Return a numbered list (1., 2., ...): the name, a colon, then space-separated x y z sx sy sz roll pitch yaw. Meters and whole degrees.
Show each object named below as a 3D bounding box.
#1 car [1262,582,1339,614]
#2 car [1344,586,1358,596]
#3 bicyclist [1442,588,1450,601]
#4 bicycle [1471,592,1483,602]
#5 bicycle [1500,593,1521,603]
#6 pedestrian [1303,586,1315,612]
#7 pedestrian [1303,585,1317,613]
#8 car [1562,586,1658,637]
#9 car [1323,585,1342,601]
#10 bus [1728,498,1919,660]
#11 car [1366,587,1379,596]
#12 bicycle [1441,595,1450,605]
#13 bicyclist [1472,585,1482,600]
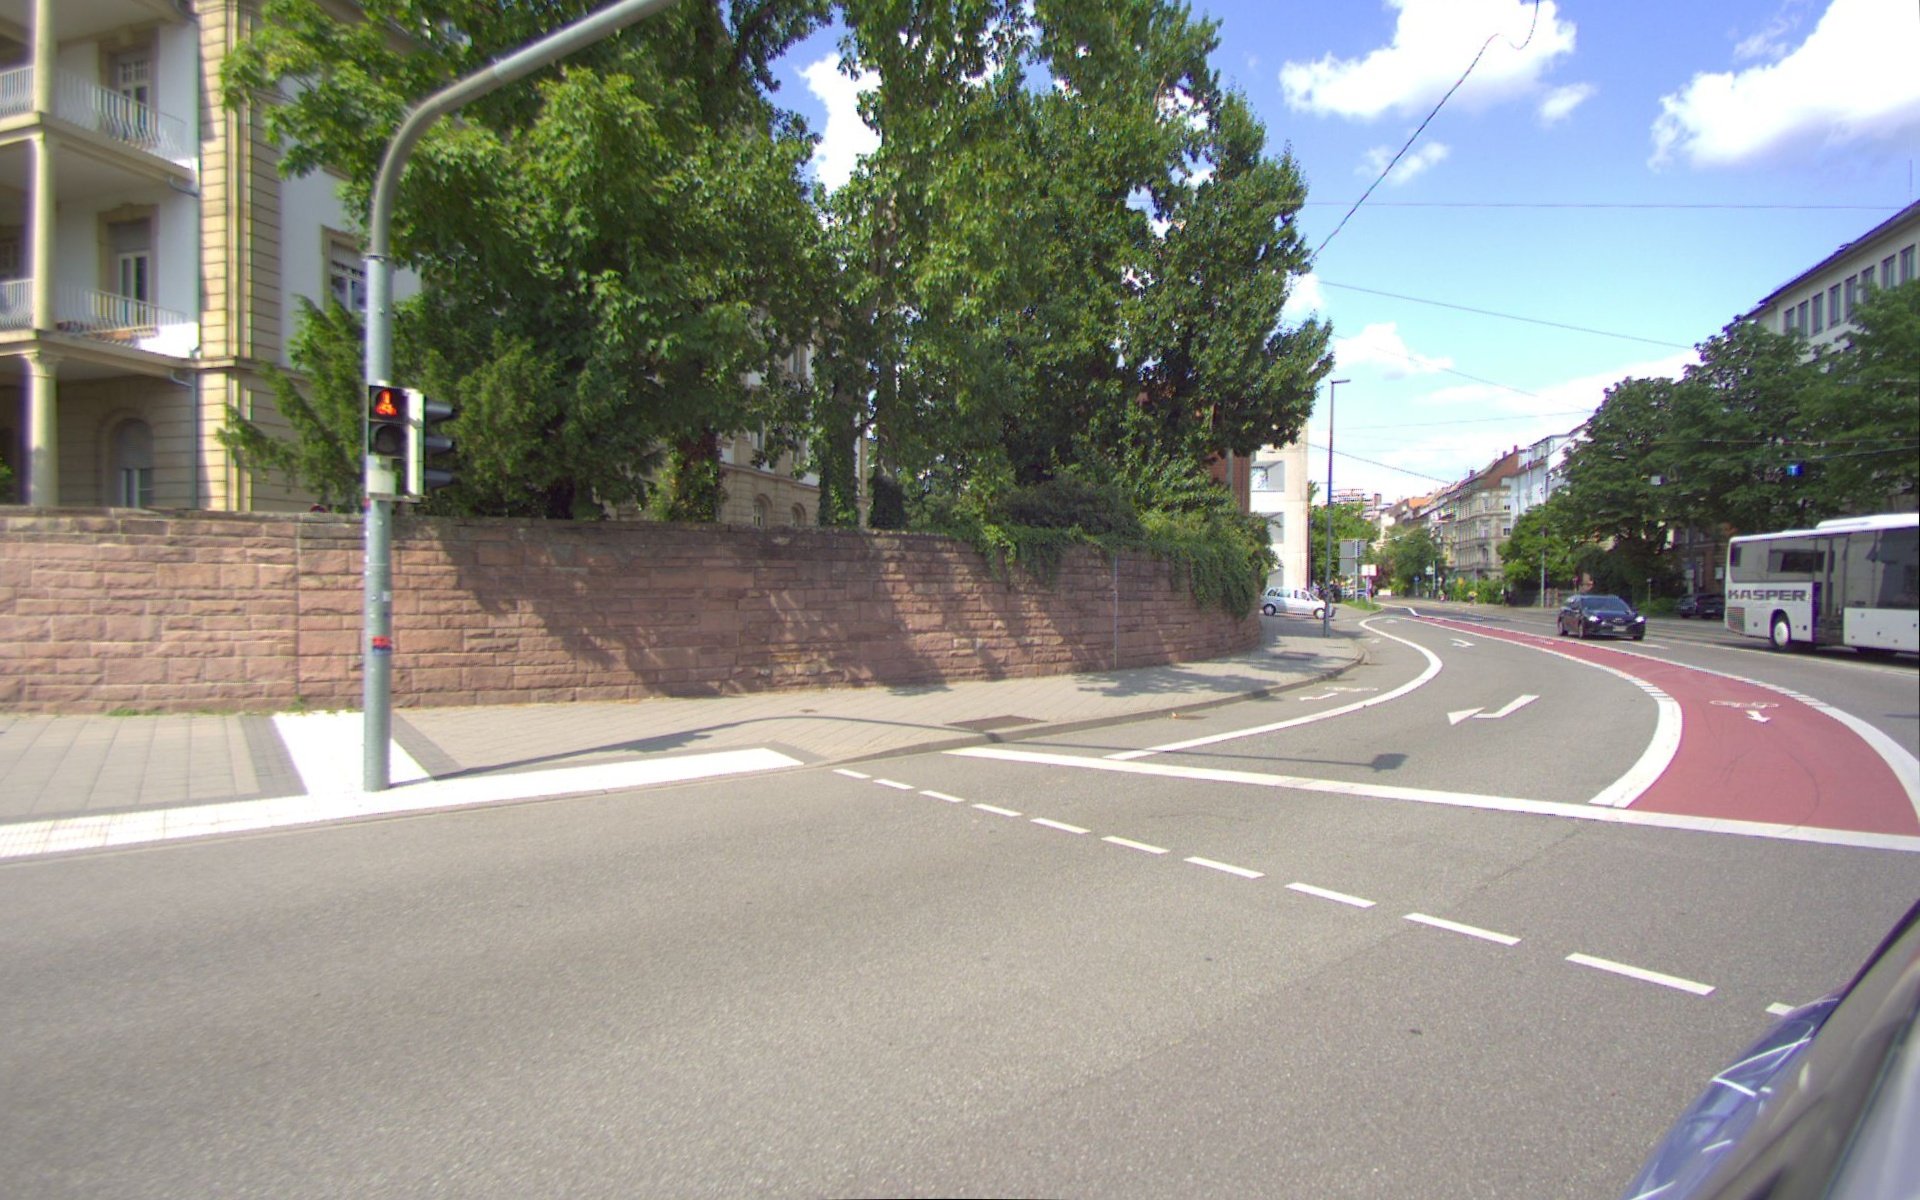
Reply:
1. car: 18.269 -0.082 54.289 3.844 1.625 1.653 1 -1 21
2. car: 78.293 -1.840 202.706 1.876 1.931 5.359 1 1 15
3. bicyclist: 58.690 -0.621 122.162 0.594 1.510 0.876 6 2 19
4. bicycle: 52.346 -0.297 102.446 0.690 1.030 1.812 2 1 13
5. bicycle: 54.270 -0.159 99.849 1.130 0.920 2.973 -3 0 16
6. pedestrian: 21.604 -0.054 62.687 0.512 1.600 0.547 2 -1 7
7. pedestrian: 22.179 -0.079 64.051 0.681 1.746 0.739 2 -1 29
8. car: 21.850 0.334 34.191 1.672 1.597 4.133 1 0 18
9. car: 46.886 -0.855 127.444 1.875 1.965 4.925 1 1 16
10. bus: 21.987 -0.484 22.990 2.886 3.370 12.147 0 1 16
11. car: 70.618 -1.520 173.359 1.670 1.419 3.911 3 1 16
12. bicycle: 58.627 -0.027 122.162 0.597 1.110 2.010 6 2 19
13. bicyclist: 52.361 -0.762 102.497 0.683 1.538 0.864 2 0 14
